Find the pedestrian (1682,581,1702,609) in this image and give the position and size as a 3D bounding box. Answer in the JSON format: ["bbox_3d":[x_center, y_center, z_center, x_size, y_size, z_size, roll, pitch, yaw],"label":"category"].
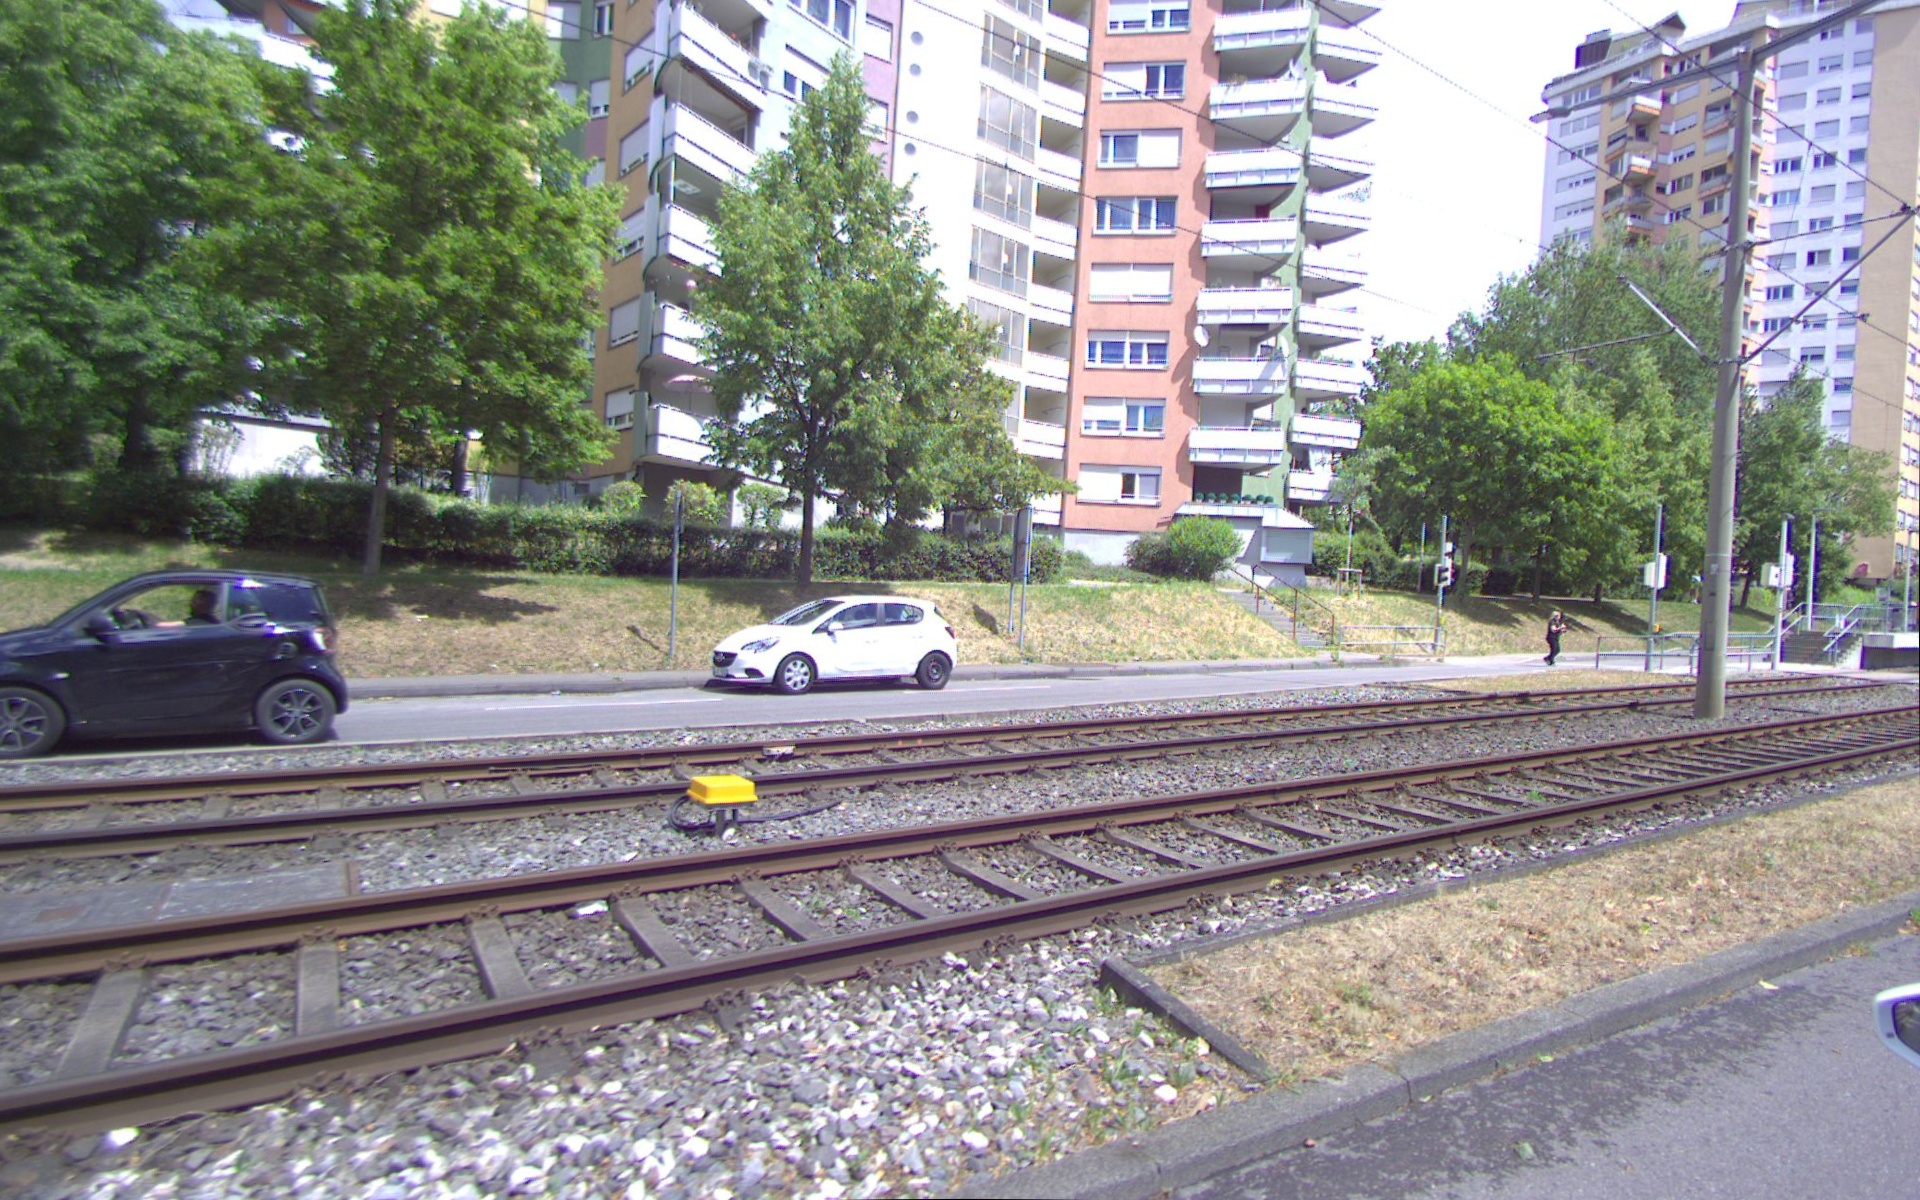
[{"bbox_3d":[40.567,-0.277,55.694,0.623,1.555,0.634,1,0,-13],"label":"pedestrian"}]

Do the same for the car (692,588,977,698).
[{"bbox_3d":[-1.923,0.645,16.054,4.204,1.552,1.769,1,-1,-37],"label":"car"}]

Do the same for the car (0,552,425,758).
[{"bbox_3d":[-7.000,0.433,9.063,3.660,1.585,1.704,1,0,-35],"label":"car"}]

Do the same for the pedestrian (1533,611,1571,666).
[{"bbox_3d":[16.955,1.087,28.795,0.755,1.555,0.717,1,0,15],"label":"pedestrian"}]
